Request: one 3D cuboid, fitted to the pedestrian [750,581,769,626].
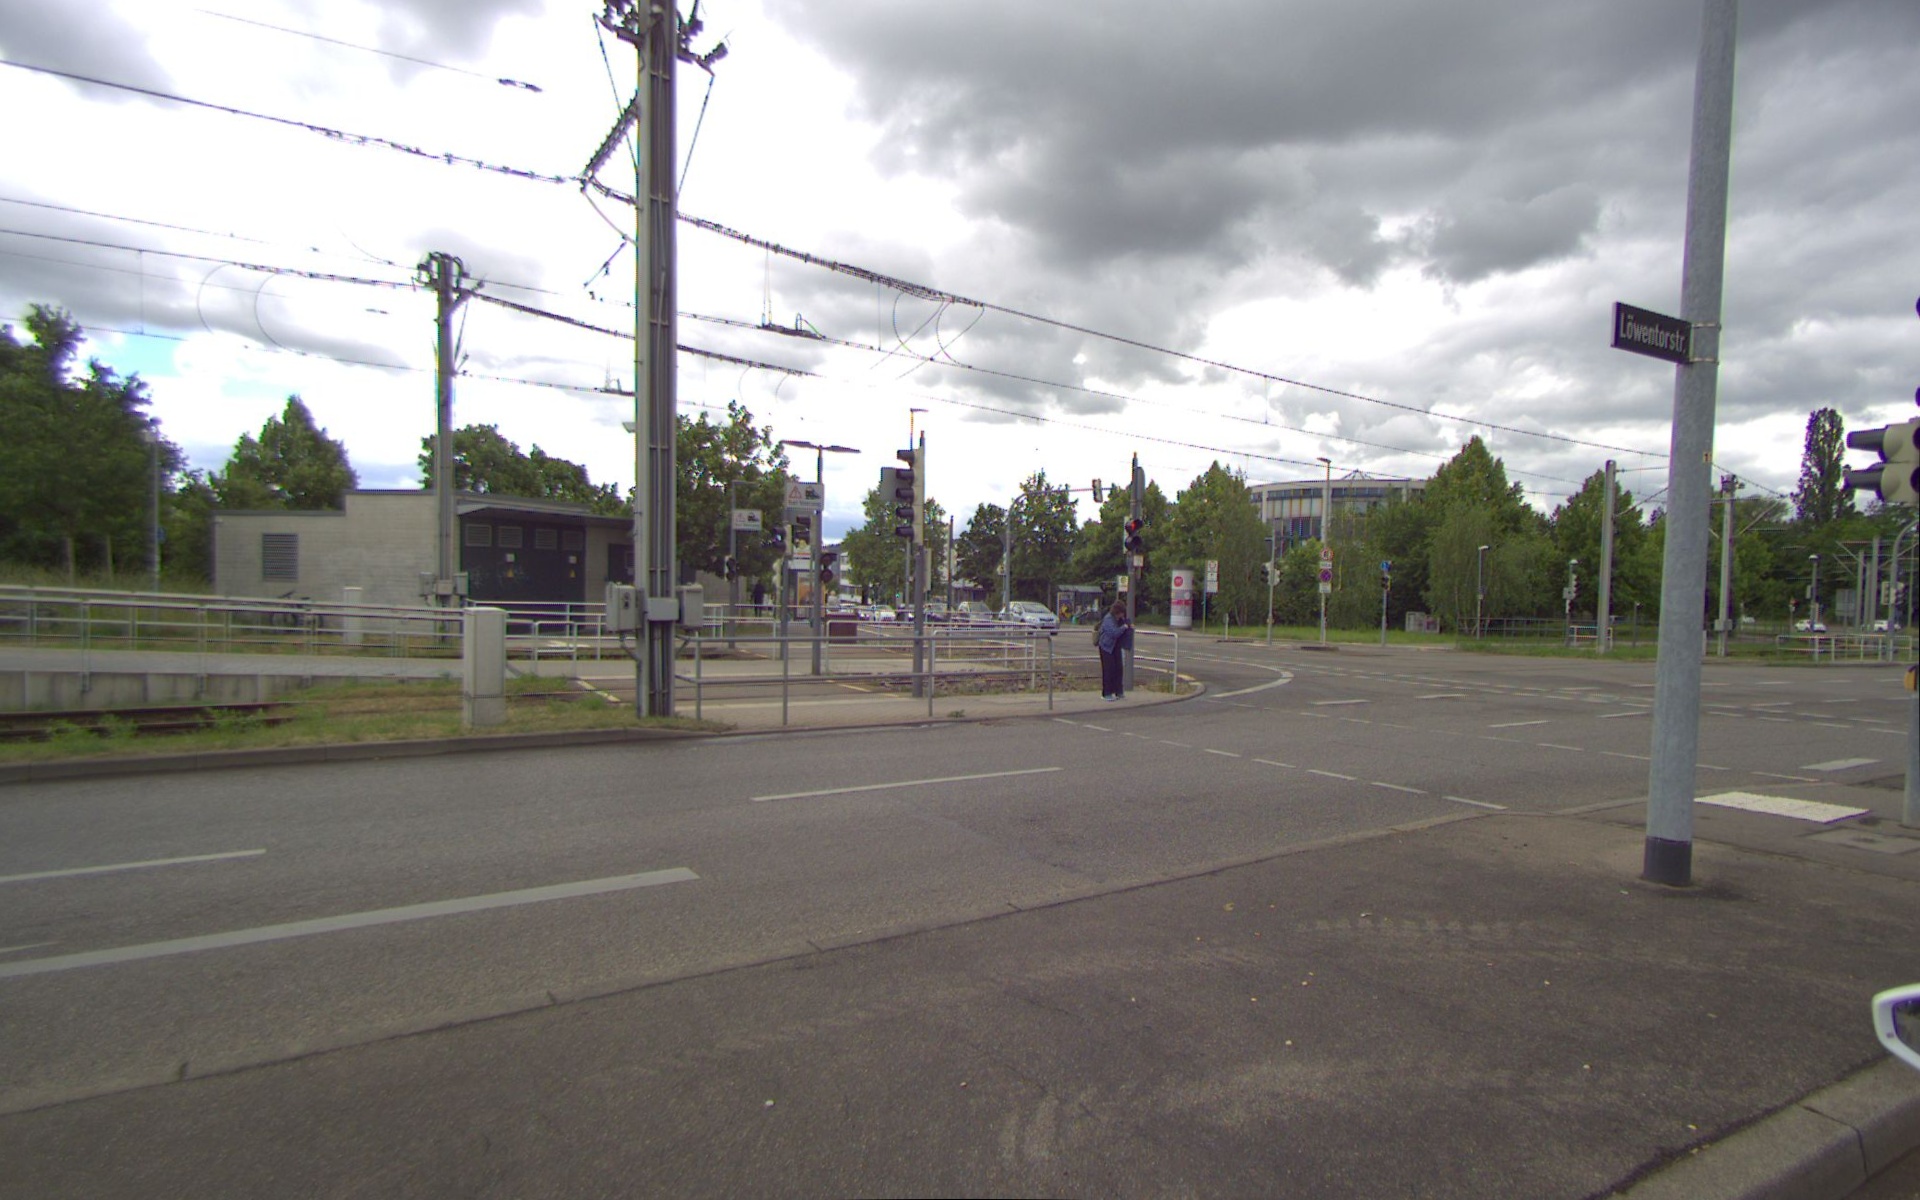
[{"bbox_3d":[-9.051,0.147,45.350,0.738,1.993,0.795,1,0,-9],"label":"pedestrian"}]

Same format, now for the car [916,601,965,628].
[{"bbox_3d":[-1.156,0.818,58.162,1.706,1.456,3.731,1,0,-20],"label":"car"}]

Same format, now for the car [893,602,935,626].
[{"bbox_3d":[-3.010,0.890,64.928,1.706,1.456,3.731,1,0,-20],"label":"car"}]

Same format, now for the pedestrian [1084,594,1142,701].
[{"bbox_3d":[2.334,0.707,15.342,0.701,1.584,0.533,1,1,-44],"label":"pedestrian"}]

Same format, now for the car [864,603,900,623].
[{"bbox_3d":[-5.819,0.965,74.778,1.706,1.456,3.731,1,0,-20],"label":"car"}]

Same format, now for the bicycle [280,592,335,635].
[{"bbox_3d":[-17.333,0.346,26.674,1.452,1.101,0.492,1,0,22],"label":"bicycle"}]

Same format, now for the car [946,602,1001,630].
[{"bbox_3d":[0.683,0.845,53.666,1.706,1.456,3.731,1,0,-20],"label":"car"}]

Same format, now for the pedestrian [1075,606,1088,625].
[{"bbox_3d":[8.641,1.122,71.561,0.652,1.322,0.780,1,0,-16],"label":"pedestrian"}]

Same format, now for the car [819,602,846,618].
[{"bbox_3d":[-11.938,0.965,94.069,1.706,1.456,3.731,1,0,-20],"label":"car"}]

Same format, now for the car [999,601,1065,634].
[{"bbox_3d":[3.296,0.801,46.806,1.706,1.456,3.731,1,0,-20],"label":"car"}]

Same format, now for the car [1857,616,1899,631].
[{"bbox_3d":[114.852,2.873,125.672,1.959,1.773,4.002,1,0,8],"label":"car"}]

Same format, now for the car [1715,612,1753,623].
[{"bbox_3d":[115.558,2.647,150.054,1.755,1.465,4.519,-1,0,-11],"label":"car"}]

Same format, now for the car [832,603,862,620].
[{"bbox_3d":[-9.775,0.990,86.713,1.706,1.456,3.731,1,0,-20],"label":"car"}]

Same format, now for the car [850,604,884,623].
[{"bbox_3d":[-7.425,1.025,79.681,1.706,1.456,3.991,1,0,-20],"label":"car"}]

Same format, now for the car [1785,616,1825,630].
[{"bbox_3d":[101.244,2.724,120.437,1.797,1.650,4.428,1,-1,12],"label":"car"}]

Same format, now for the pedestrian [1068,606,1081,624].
[{"bbox_3d":[8.296,1.083,72.829,0.652,1.321,0.780,1,0,-16],"label":"pedestrian"}]

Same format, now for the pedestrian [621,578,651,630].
[{"bbox_3d":[-10.250,0.136,31.756,0.700,1.628,0.651,1,0,-38],"label":"pedestrian"}]
